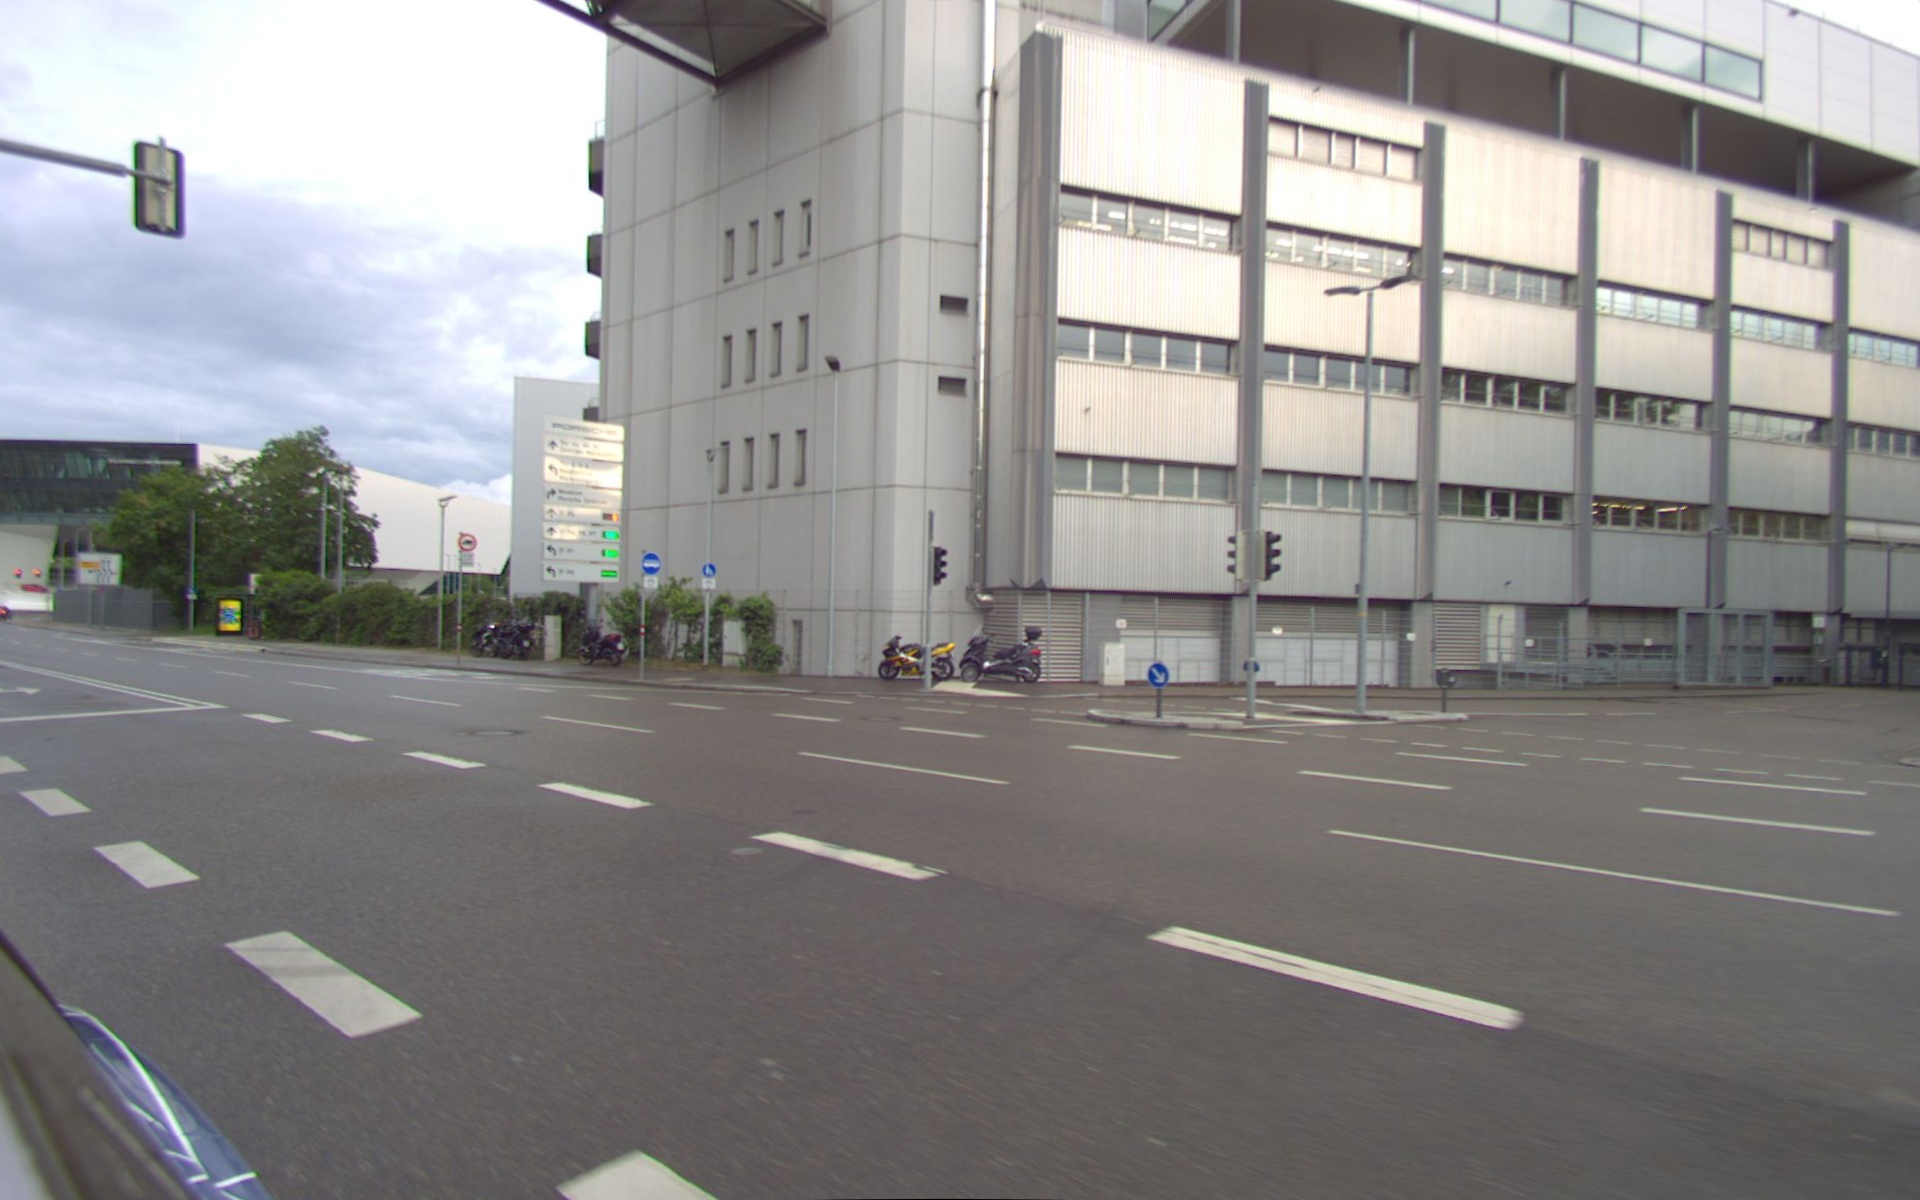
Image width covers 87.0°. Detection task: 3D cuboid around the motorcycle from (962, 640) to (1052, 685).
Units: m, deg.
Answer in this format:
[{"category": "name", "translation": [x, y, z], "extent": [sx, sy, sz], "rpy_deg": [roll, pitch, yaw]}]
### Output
[{"category": "motorcycle", "translation": [1.179, 1.543, 25.215], "extent": [2.150, 1.035, 0.624], "rpy_deg": [0, -2, 14]}]

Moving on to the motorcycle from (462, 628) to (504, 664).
[{"category": "motorcycle", "translation": [-17.086, 1.639, 36.238], "extent": [1.967, 1.224, 0.618], "rpy_deg": [-1, -3, 42]}]

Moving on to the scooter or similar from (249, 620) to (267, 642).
[{"category": "scooter or similar", "translation": [-36.368, 1.592, 52.413], "extent": [1.568, 1.138, 0.389], "rpy_deg": [-1, -3, 42]}]

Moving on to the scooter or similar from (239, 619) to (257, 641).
[{"category": "scooter or similar", "translation": [-37.604, 1.604, 53.468], "extent": [1.568, 1.138, 0.389], "rpy_deg": [-1, -3, 42]}]

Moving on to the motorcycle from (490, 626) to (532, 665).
[{"category": "motorcycle", "translation": [-15.293, 1.530, 34.472], "extent": [0.617, 1.277, 2.173], "rpy_deg": [0, -1, -43]}]

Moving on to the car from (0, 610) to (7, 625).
[{"category": "car", "translation": [-106.279, 1.867, 111.299], "extent": [4.484, 1.602, 1.752], "rpy_deg": [-1, -3, 42]}]

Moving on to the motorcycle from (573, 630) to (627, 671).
[{"category": "motorcycle", "translation": [-10.998, 1.524, 30.892], "extent": [2.037, 1.171, 0.561], "rpy_deg": [-1, -3, 40]}]

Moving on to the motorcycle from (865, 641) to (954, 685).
[{"category": "motorcycle", "translation": [-1.264, 1.582, 25.501], "extent": [2.144, 1.035, 0.625], "rpy_deg": [1, -2, 6]}]
